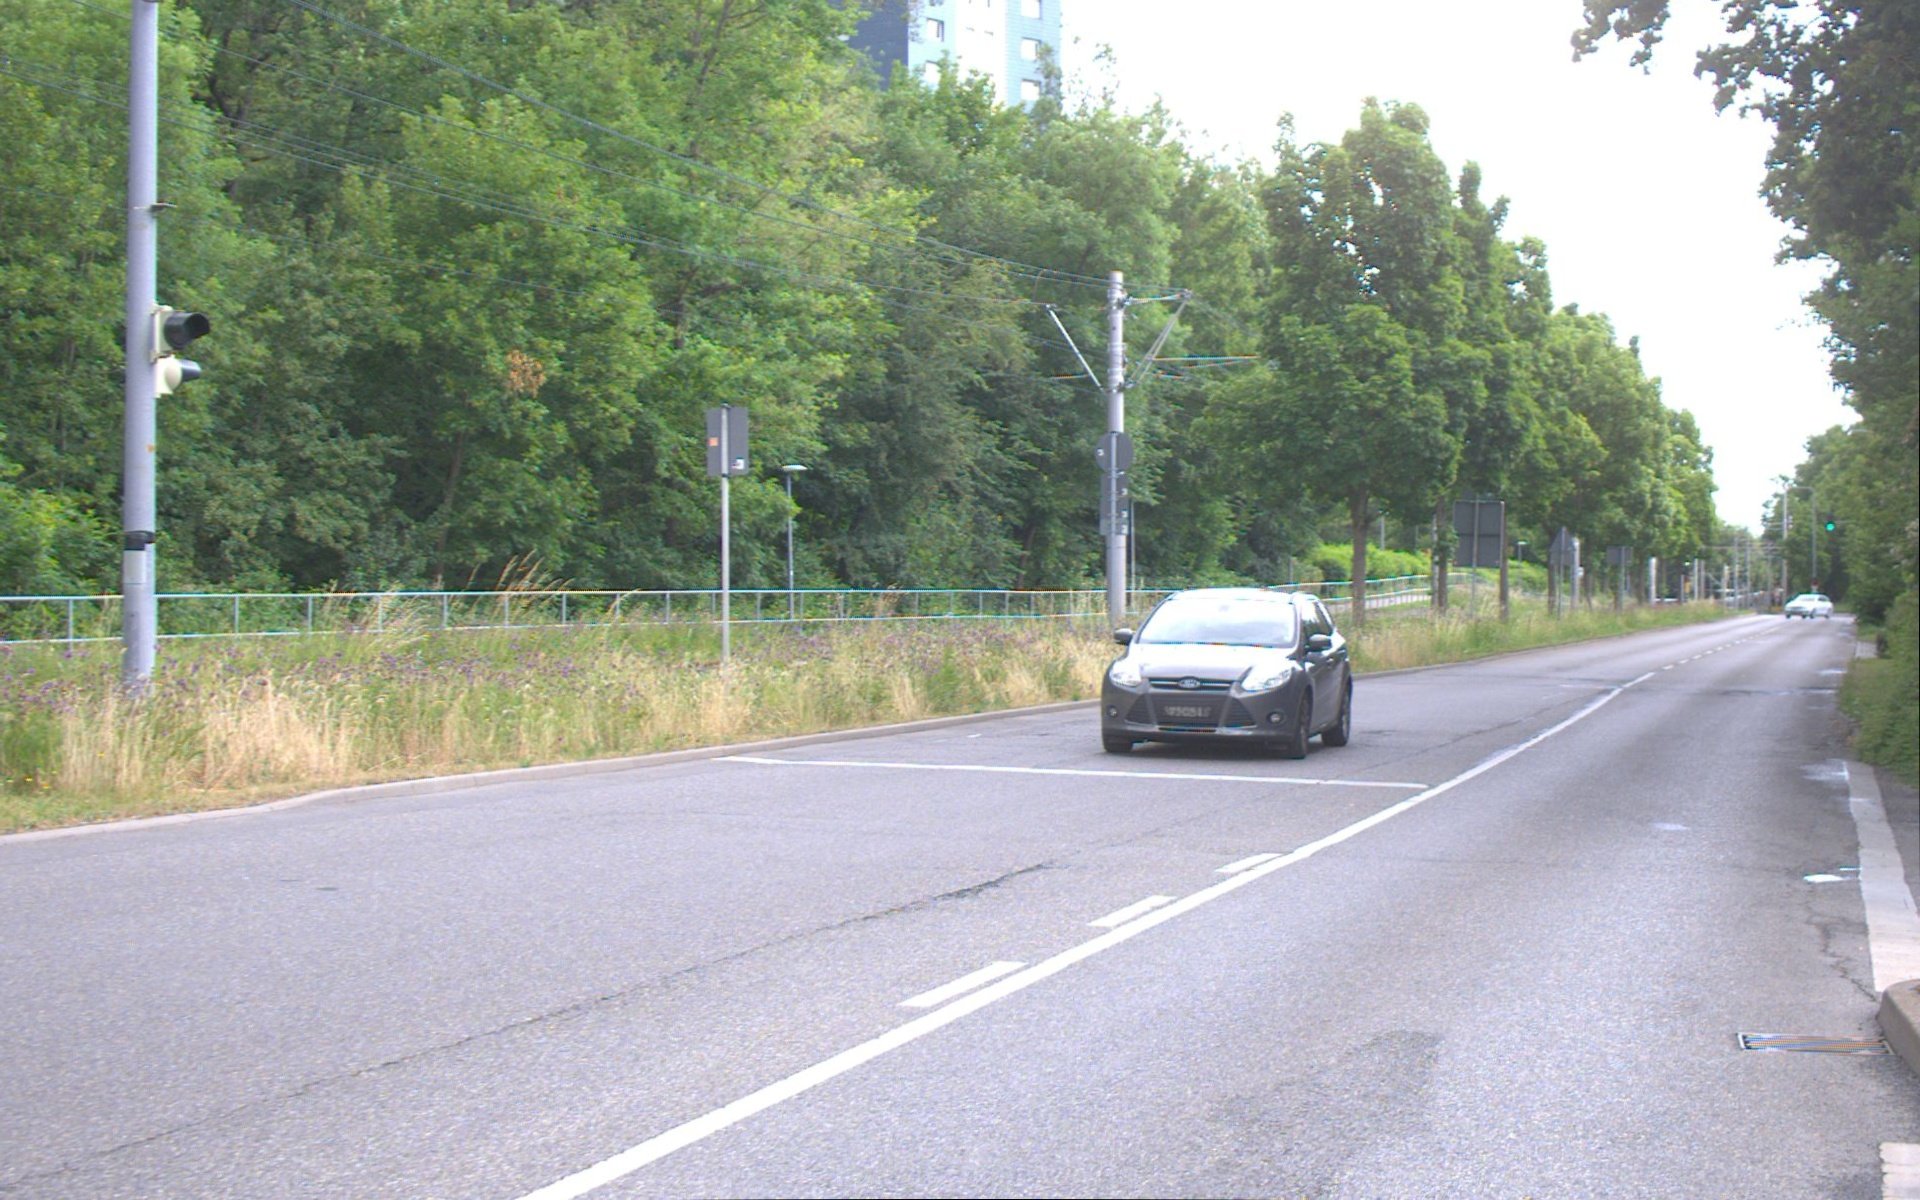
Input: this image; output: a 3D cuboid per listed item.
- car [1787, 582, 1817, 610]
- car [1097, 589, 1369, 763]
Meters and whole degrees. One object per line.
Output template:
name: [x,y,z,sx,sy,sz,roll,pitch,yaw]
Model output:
car: [52.132,-0.243,212.797,1.717,1.624,3.997,2,1,15]
car: [2.557,0.631,31.242,1.756,1.430,4.426,1,0,14]
